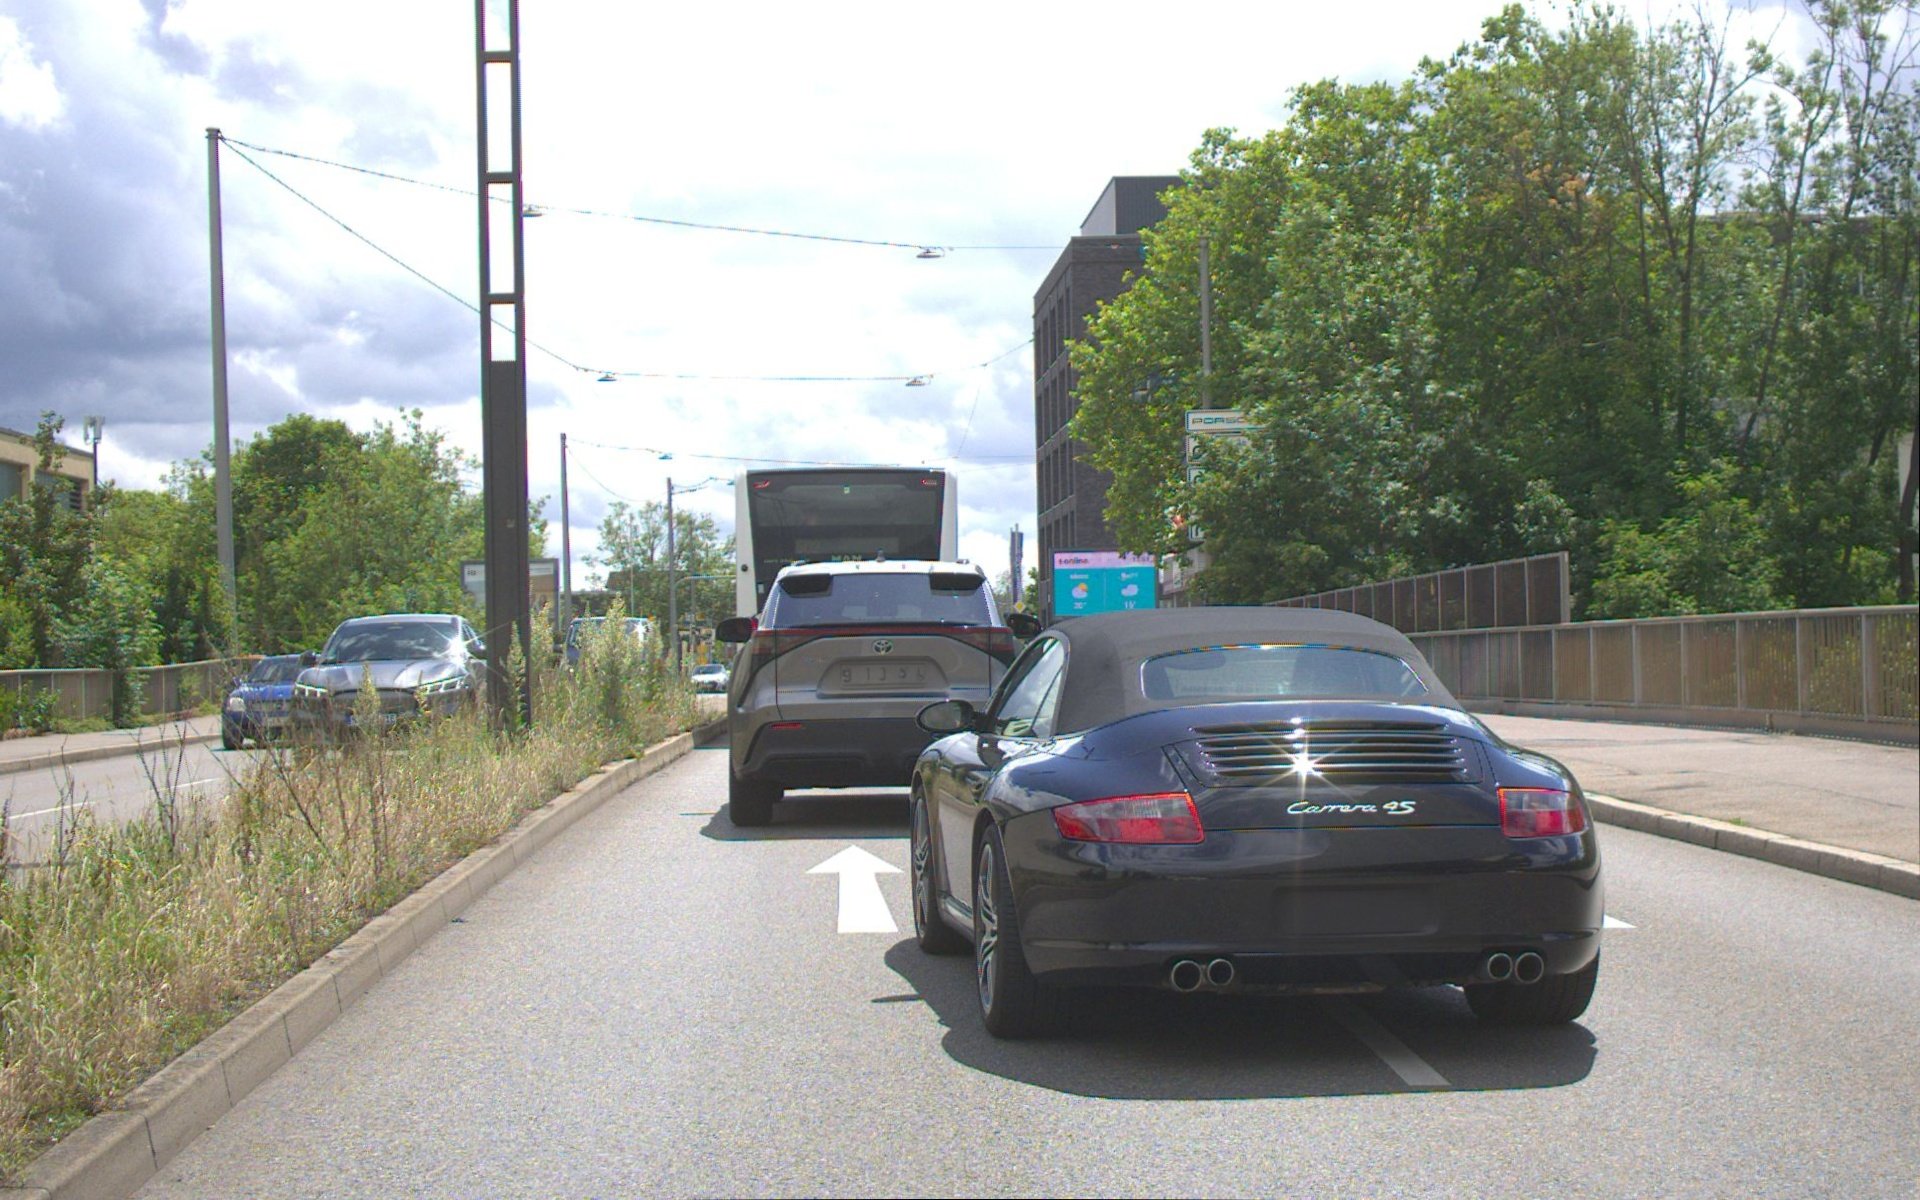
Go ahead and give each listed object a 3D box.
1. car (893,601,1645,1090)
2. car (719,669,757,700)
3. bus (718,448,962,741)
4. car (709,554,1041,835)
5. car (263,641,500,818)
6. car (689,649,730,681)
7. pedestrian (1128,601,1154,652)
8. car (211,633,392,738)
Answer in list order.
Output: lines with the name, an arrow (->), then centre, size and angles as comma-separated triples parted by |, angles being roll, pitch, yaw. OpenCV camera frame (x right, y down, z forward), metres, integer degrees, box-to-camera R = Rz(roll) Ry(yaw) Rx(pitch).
car -> 0.822, 0.669, 11.496 | 1.719, 1.271, 4.089 | 0, 1, -6
car -> -11.304, 4.291, 174.998 | 1.810, 1.555, 4.207 | 0, -1, -2
bus -> -1.424, -0.258, 44.388 | 2.689, 3.244, 12.059 | 1, 2, -1
car -> -0.510, 0.514, 21.725 | 1.879, 1.588, 4.230 | 0, 1, -1
car -> -6.188, 1.344, 37.221 | 1.878, 1.621, 4.444 | -3, 1, -2
car -> -11.220, 2.906, 154.254 | 1.636, 1.359, 4.195 | -1, -1, -2
pedestrian -> 6.009, 0.886, 114.206 | 0.681, 1.691, 0.597 | -1, -1, 24
car -> -9.076, 1.156, 47.655 | 1.754, 1.271, 4.000 | -3, 0, -1
